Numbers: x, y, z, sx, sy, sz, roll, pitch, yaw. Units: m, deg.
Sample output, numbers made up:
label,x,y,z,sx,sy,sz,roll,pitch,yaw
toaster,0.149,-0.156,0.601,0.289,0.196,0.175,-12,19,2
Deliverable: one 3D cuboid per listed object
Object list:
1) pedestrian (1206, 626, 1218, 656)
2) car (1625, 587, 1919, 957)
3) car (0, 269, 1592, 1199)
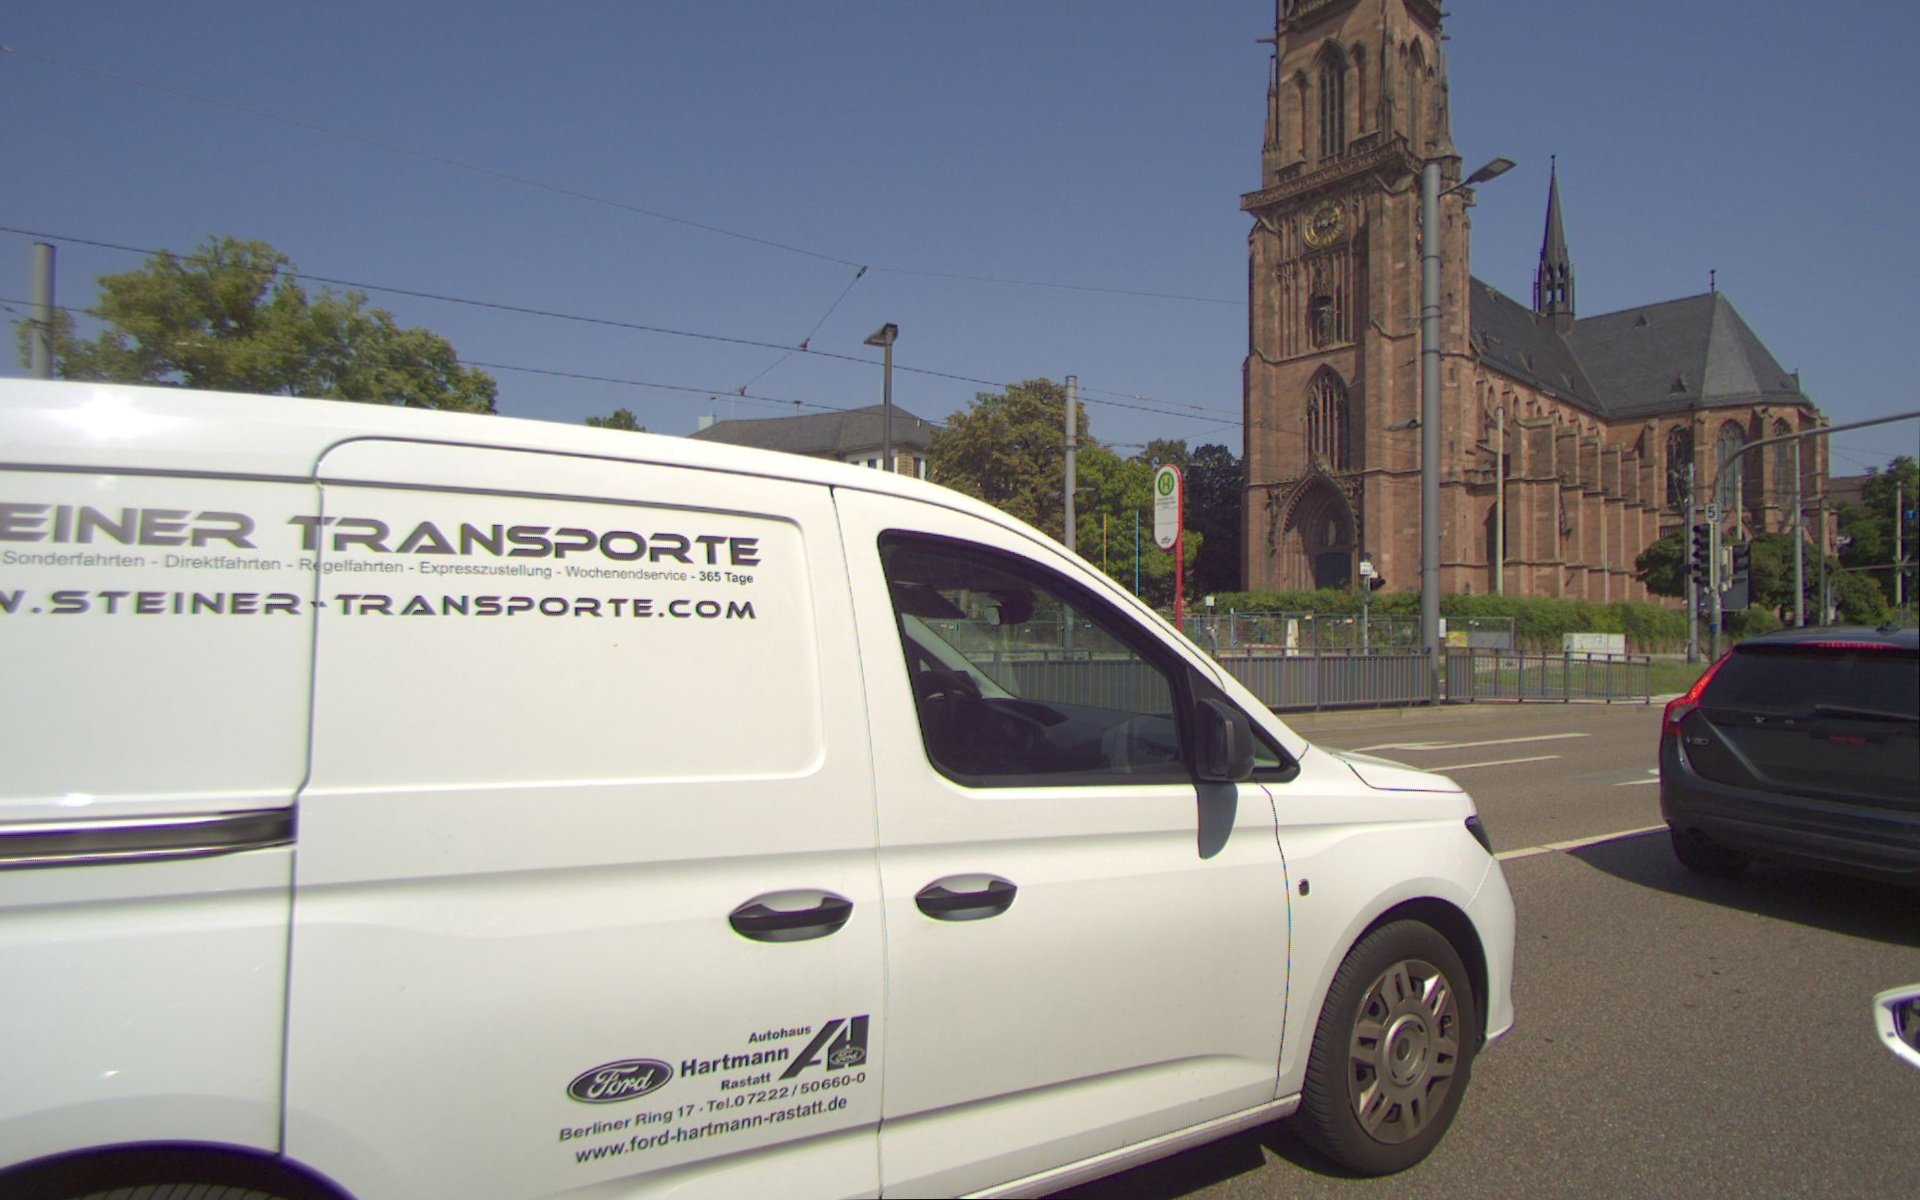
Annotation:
label,x,y,z,sx,sy,sz,roll,pitch,yaw
pedestrian,13.262,2.152,52.812,0.533,1.551,0.436,0,-1,5
car,5.919,0.796,5.828,4.257,1.636,1.739,1,0,-30
car,-0.354,0.552,2.700,4.189,1.844,1.739,1,-1,-30
